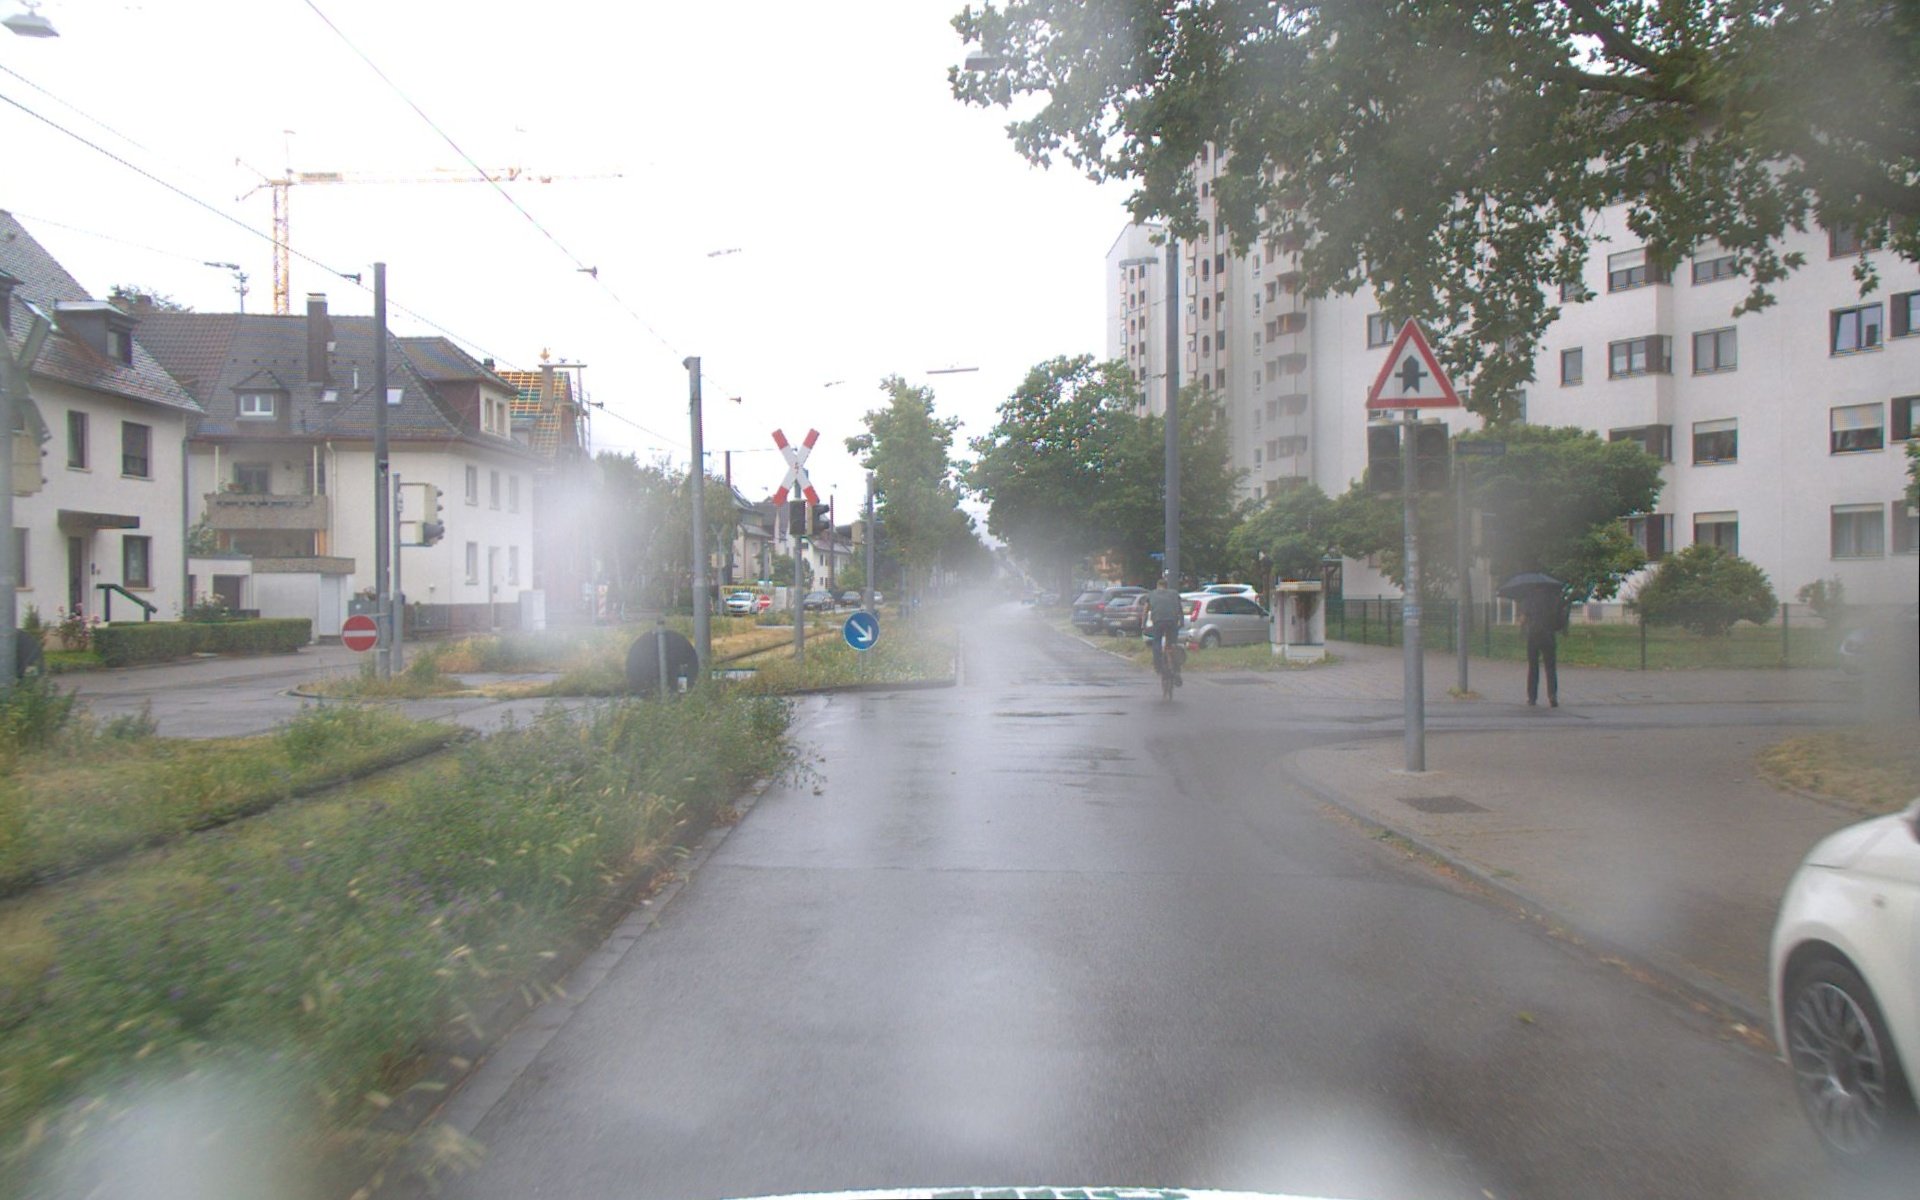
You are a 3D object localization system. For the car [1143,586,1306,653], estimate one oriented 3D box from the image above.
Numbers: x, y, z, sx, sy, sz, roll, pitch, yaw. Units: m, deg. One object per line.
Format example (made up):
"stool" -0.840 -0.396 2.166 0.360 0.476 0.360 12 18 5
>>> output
"car" 6.716 0.482 41.883 3.955 1.534 1.762 -2 -2 -36

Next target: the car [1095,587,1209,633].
"car" 6.667 0.333 57.182 3.964 1.454 1.709 -2 1 -41

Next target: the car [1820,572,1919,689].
"car" 15.763 0.410 25.304 4.204 1.710 1.872 -1 0 2

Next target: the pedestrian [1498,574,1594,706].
"pedestrian" 8.428 0.555 23.845 1.076 1.845 1.435 -1 0 10

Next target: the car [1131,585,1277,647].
"car" 6.706 0.431 45.261 3.961 1.534 1.682 -1 -2 -39

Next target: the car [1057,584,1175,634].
"car" 5.703 0.315 60.188 4.310 1.680 1.831 -2 1 -41

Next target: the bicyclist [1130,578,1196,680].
"bicyclist" 2.969 0.415 24.292 0.793 1.458 1.060 -1 0 -2

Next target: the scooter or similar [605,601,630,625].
"scooter or similar" -16.800 0.623 81.153 0.432 1.149 1.280 -1 0 31

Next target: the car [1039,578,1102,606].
"car" 7.963 -0.598 118.854 4.092 1.749 1.980 -4 2 -30

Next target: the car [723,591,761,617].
"car" -14.463 0.250 109.845 1.674 1.569 4.424 2 1 3

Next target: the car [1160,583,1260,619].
"car" 13.017 0.040 86.181 4.721 1.776 1.993 -1 0 -14

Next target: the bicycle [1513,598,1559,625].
"bicycle" 19.155 0.382 55.024 0.483 0.862 1.560 -1 0 -25

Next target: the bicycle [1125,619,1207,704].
"bicycle" 2.982 0.869 24.172 0.793 1.116 2.516 -1 0 -2

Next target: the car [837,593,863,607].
"car" -10.978 0.000 165.393 1.856 1.266 4.690 2 0 5

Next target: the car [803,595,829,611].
"car" -12.120 0.202 139.499 1.629 1.266 4.073 2 0 2

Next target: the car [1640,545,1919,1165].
"car" 3.159 0.622 3.666 1.527 1.545 3.999 -1 0 -2

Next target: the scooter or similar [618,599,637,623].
"scooter or similar" -16.953 0.562 84.258 0.385 1.201 1.284 -1 0 16
